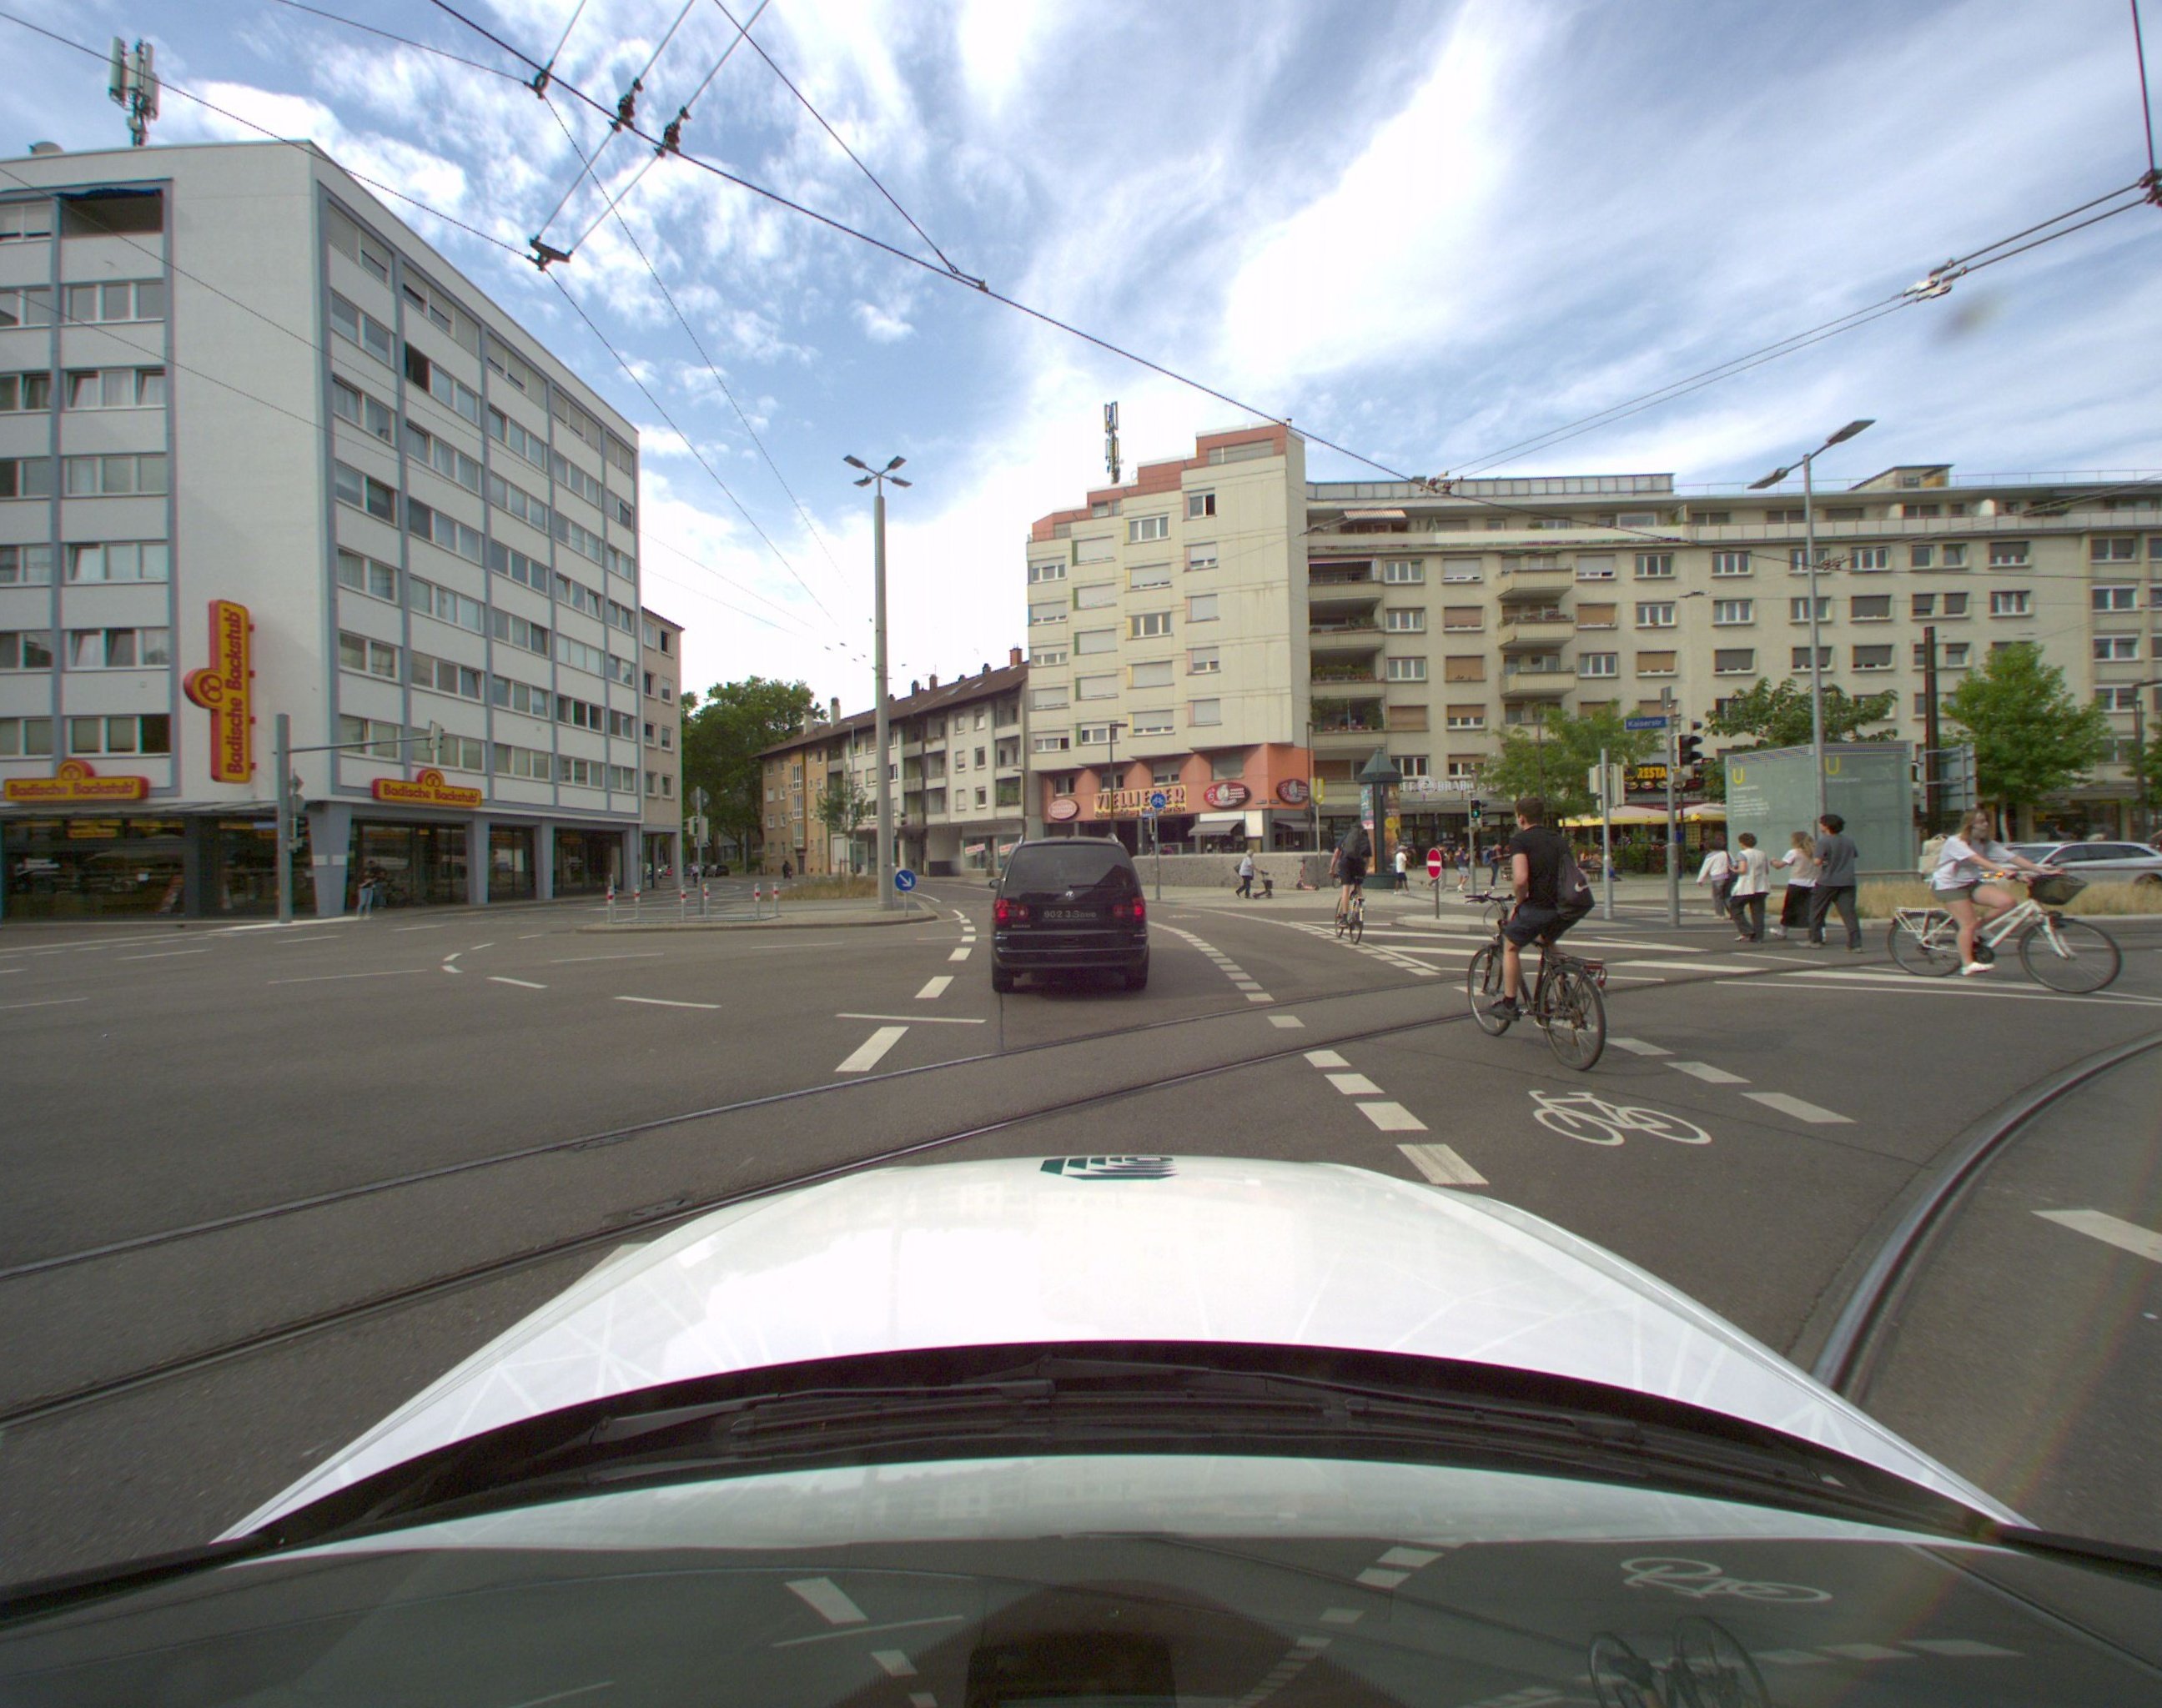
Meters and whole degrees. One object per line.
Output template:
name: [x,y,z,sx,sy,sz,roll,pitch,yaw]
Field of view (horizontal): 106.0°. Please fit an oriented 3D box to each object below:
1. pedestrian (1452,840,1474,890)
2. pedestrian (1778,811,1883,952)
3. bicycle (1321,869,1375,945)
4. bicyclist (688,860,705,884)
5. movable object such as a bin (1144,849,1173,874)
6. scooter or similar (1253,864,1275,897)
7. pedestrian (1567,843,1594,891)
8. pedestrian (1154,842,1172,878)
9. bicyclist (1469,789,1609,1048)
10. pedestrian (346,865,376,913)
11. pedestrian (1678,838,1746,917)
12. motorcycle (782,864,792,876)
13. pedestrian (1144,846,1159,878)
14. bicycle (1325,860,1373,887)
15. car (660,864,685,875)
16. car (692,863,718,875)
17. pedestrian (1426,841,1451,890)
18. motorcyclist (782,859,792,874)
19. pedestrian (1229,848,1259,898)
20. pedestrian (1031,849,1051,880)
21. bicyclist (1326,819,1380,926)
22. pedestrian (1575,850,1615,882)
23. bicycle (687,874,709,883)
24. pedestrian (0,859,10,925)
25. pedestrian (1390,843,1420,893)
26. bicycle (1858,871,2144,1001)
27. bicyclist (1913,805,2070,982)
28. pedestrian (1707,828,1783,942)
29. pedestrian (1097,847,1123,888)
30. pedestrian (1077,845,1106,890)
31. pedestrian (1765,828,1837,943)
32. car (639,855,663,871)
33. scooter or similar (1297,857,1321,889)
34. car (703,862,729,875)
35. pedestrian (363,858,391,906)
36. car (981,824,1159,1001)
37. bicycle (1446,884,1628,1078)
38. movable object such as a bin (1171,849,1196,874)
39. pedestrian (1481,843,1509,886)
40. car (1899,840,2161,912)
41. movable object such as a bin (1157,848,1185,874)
pedestrian: [13.511,0.391,28.810,0.591,1.737,0.415,-1,0,2]
pedestrian: [10.341,0.363,11.265,0.636,1.854,0.877,-1,0,2]
bicycle: [4.415,0.837,13.562,0.388,1.122,1.922,-1,1,4]
bicyclist: [-27.298,1.259,57.819,0.605,1.646,1.039,-1,0,5]
movable object such as a bin: [4.593,0.449,48.416,1.155,1.460,1.209,-1,0,-44]
scooter or similar: [6.486,0.931,28.843,0.694,1.110,0.611,-2,0,14]
pedestrian: [17.373,0.453,28.337,0.673,1.641,0.440,-1,0,2]
pedestrian: [4.468,0.340,44.302,0.678,1.903,0.583,-4,2,-42]
bicyclist: [3.244,0.430,5.840,0.555,1.709,0.864,-1,0,6]
pedestrian: [-23.466,1.136,26.552,0.497,1.559,0.518,-1,0,-1]
pedestrian: [12.320,0.460,15.911,0.552,1.501,0.843,-1,-2,-14]
motorcycle: [-24.817,1.374,68.825,0.341,1.007,1.251,-1,0,-41]
pedestrian: [3.776,0.438,43.650,0.476,1.672,0.583,-4,2,-42]
bicycle: [10.759,0.769,32.630,2.461,1.013,0.538,-1,0,-39]
car: [-53.636,2.065,106.825,1.690,1.394,4.406,0,-1,-44]
car: [-46.116,1.839,99.812,1.672,1.422,3.899,-1,0,-43]
pedestrian: [12.846,0.408,29.277,0.696,1.737,0.415,-1,0,2]
motorcyclist: [-24.833,1.052,68.817,0.528,1.312,0.669,-1,0,-41]
pedestrian: [5.826,0.659,29.064,0.928,1.740,0.688,-2,0,16]
pedestrian: [-2.425,0.640,49.312,0.662,1.852,0.960,-4,1,-39]
bicyclist: [4.496,0.293,13.516,0.693,1.709,0.910,-1,0,10]
pedestrian: [20.318,0.464,32.212,1.026,1.245,0.936,1,-1,5]
bicycle: [-27.278,1.761,58.009,0.481,0.588,2.001,-1,0,5]
pedestrian: [-31.167,1.085,23.069,0.859,1.859,0.581,-1,0,1]
pedestrian: [11.219,0.484,28.231,0.800,1.680,0.627,-1,0,3]
bicycle: [9.277,0.758,8.366,0.390,1.122,2.071,-1,0,-7]
bicyclist: [9.342,0.379,8.387,0.641,1.709,0.859,-1,0,-11]
pedestrian: [10.161,0.467,12.492,0.467,1.686,0.795,-1,-1,-3]
pedestrian: [1.322,0.616,37.414,0.875,1.799,0.681,-1,2,42]
pedestrian: [0.481,0.607,36.776,1.001,1.971,0.726,-1,2,42]
pedestrian: [10.971,0.464,12.429,0.627,1.695,0.710,-1,0,24]
car: [-46.706,0.983,88.460,1.845,1.660,4.279,-1,0,-33]
scooter or similar: [8.868,0.743,31.681,0.286,1.212,1.118,-1,-1,-21]
car: [-43.079,1.653,96.122,1.672,1.422,3.819,-1,0,-43]
pedestrian: [-26.464,1.046,30.621,0.474,1.765,0.589,-1,0,2]
car: [-0.282,0.592,10.231,1.810,1.766,3.730,-1,0,-6]
bicycle: [3.307,0.832,6.112,0.404,1.122,2.020,-1,0,5]
movable object such as a bin: [6.320,0.473,50.193,1.011,1.515,1.153,-1,0,-44]
pedestrian: [15.394,0.396,30.276,0.815,1.576,0.415,-1,0,3]
car: [22.702,0.496,19.280,4.569,1.512,2.001,-1,0,2]
movable object such as a bin: [5.449,0.432,49.330,1.204,1.515,1.182,-1,0,-44]
